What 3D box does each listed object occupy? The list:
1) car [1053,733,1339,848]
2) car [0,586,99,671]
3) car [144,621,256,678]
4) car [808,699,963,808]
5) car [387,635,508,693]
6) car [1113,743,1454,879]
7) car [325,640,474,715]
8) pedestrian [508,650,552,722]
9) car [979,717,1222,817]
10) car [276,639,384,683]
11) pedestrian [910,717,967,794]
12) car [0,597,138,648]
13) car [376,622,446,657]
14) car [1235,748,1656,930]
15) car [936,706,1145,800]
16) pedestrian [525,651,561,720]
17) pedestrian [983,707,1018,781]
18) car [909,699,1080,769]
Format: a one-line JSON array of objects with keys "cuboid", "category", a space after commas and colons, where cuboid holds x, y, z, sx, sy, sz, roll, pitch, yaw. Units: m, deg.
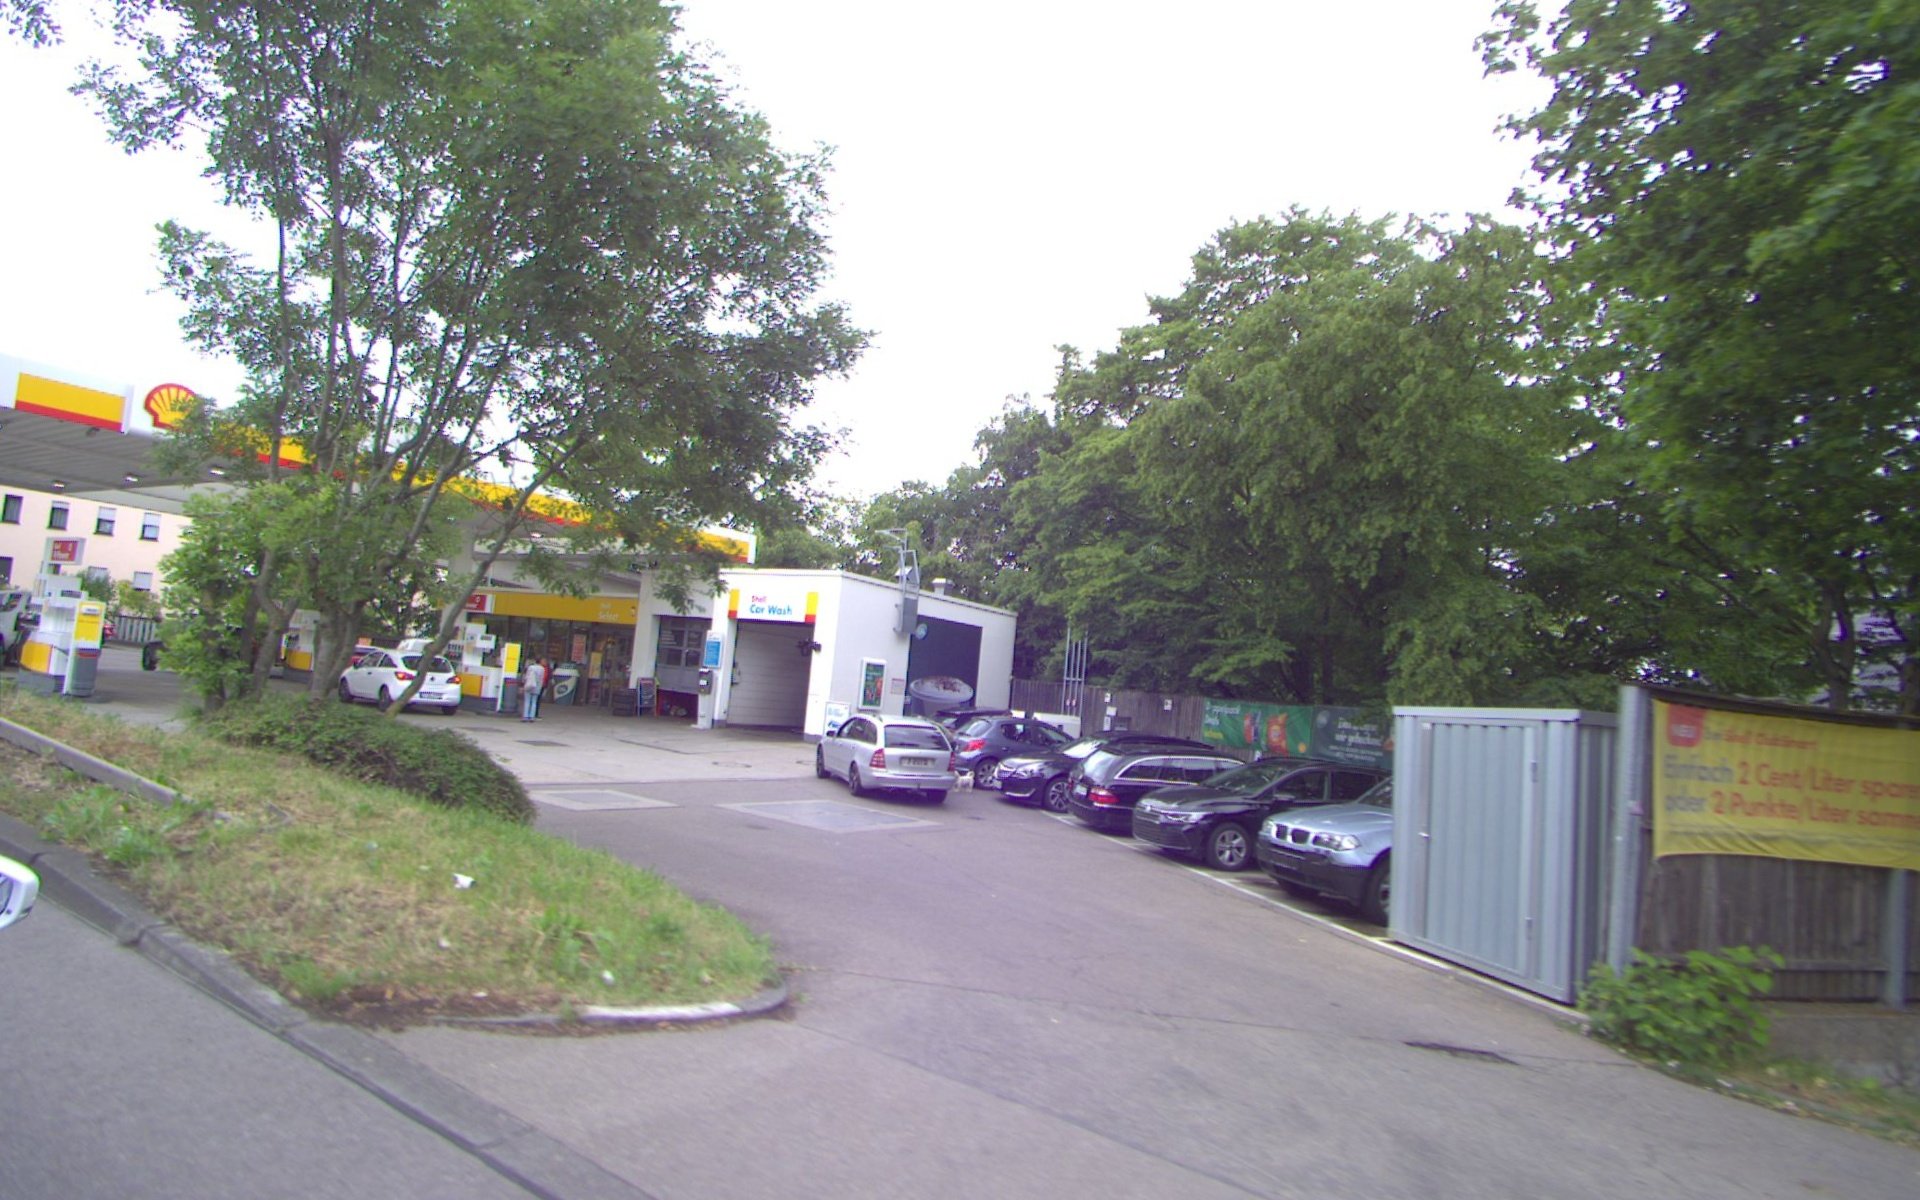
[{"cuboid": [3.863, 3.122, 16.596, 4.225, 1.450, 1.734, 6, -5, -15], "category": "car"}, {"cuboid": [-25.493, 0.734, 27.595, 4.644, 2.032, 1.736, 2, -5, 37], "category": "car"}, {"cuboid": [-24.131, 1.556, 31.900, 3.821, 1.502, 1.737, 2, -5, 37], "category": "car"}, {"cuboid": [-1.514, 2.765, 18.687, 1.579, 1.447, 4.278, 7, -4, -21], "category": "car"}, {"cuboid": [-20.628, 2.610, 40.622, 1.717, 1.959, 3.864, 2, -5, 40], "category": "car"}, {"cuboid": [4.471, 2.912, 13.991, 4.227, 1.441, 1.733, 6, -5, -16], "category": "car"}, {"cuboid": [-14.005, 1.922, 25.097, 3.821, 1.502, 1.737, 2, -5, 37], "category": "car"}, {"cuboid": [-10.856, 2.183, 25.406, 0.599, 1.723, 0.544, 6, -2, 30], "category": "pedestrian"}, {"cuboid": [2.628, 3.155, 19.087, 4.150, 1.452, 1.732, 6, -3, -15], "category": "car"}, {"cuboid": [-26.330, 2.550, 42.115, 3.598, 1.474, 1.643, 8, -5, -37], "category": "car"}, {"cuboid": [-0.417, 2.972, 19.339, 0.730, 1.326, 0.699, 9, -3, -22], "category": "pedestrian"}, {"cuboid": [-40.361, 1.064, 45.687, 4.260, 1.535, 1.616, 12, -7, -27], "category": "car"}, {"cuboid": [-31.713, 2.307, 58.264, 1.571, 1.360, 3.603, 7, -8, 8], "category": "car"}, {"cuboid": [5.426, 2.664, 11.288, 4.230, 1.607, 1.732, 7, -5, -18], "category": "car"}, {"cuboid": [1.681, 3.235, 21.343, 4.035, 1.536, 1.625, 6, -3, -15], "category": "car"}, {"cuboid": [-10.902, 2.242, 26.329, 0.424, 1.723, 0.493, 7, -2, 26], "category": "pedestrian"}, {"cuboid": [0.894, 3.196, 22.379, 0.425, 1.553, 0.468, 11, -6, -17], "category": "pedestrian"}, {"cuboid": [0.924, 3.471, 25.936, 4.063, 1.452, 1.711, 7, -3, -32], "category": "car"}]
